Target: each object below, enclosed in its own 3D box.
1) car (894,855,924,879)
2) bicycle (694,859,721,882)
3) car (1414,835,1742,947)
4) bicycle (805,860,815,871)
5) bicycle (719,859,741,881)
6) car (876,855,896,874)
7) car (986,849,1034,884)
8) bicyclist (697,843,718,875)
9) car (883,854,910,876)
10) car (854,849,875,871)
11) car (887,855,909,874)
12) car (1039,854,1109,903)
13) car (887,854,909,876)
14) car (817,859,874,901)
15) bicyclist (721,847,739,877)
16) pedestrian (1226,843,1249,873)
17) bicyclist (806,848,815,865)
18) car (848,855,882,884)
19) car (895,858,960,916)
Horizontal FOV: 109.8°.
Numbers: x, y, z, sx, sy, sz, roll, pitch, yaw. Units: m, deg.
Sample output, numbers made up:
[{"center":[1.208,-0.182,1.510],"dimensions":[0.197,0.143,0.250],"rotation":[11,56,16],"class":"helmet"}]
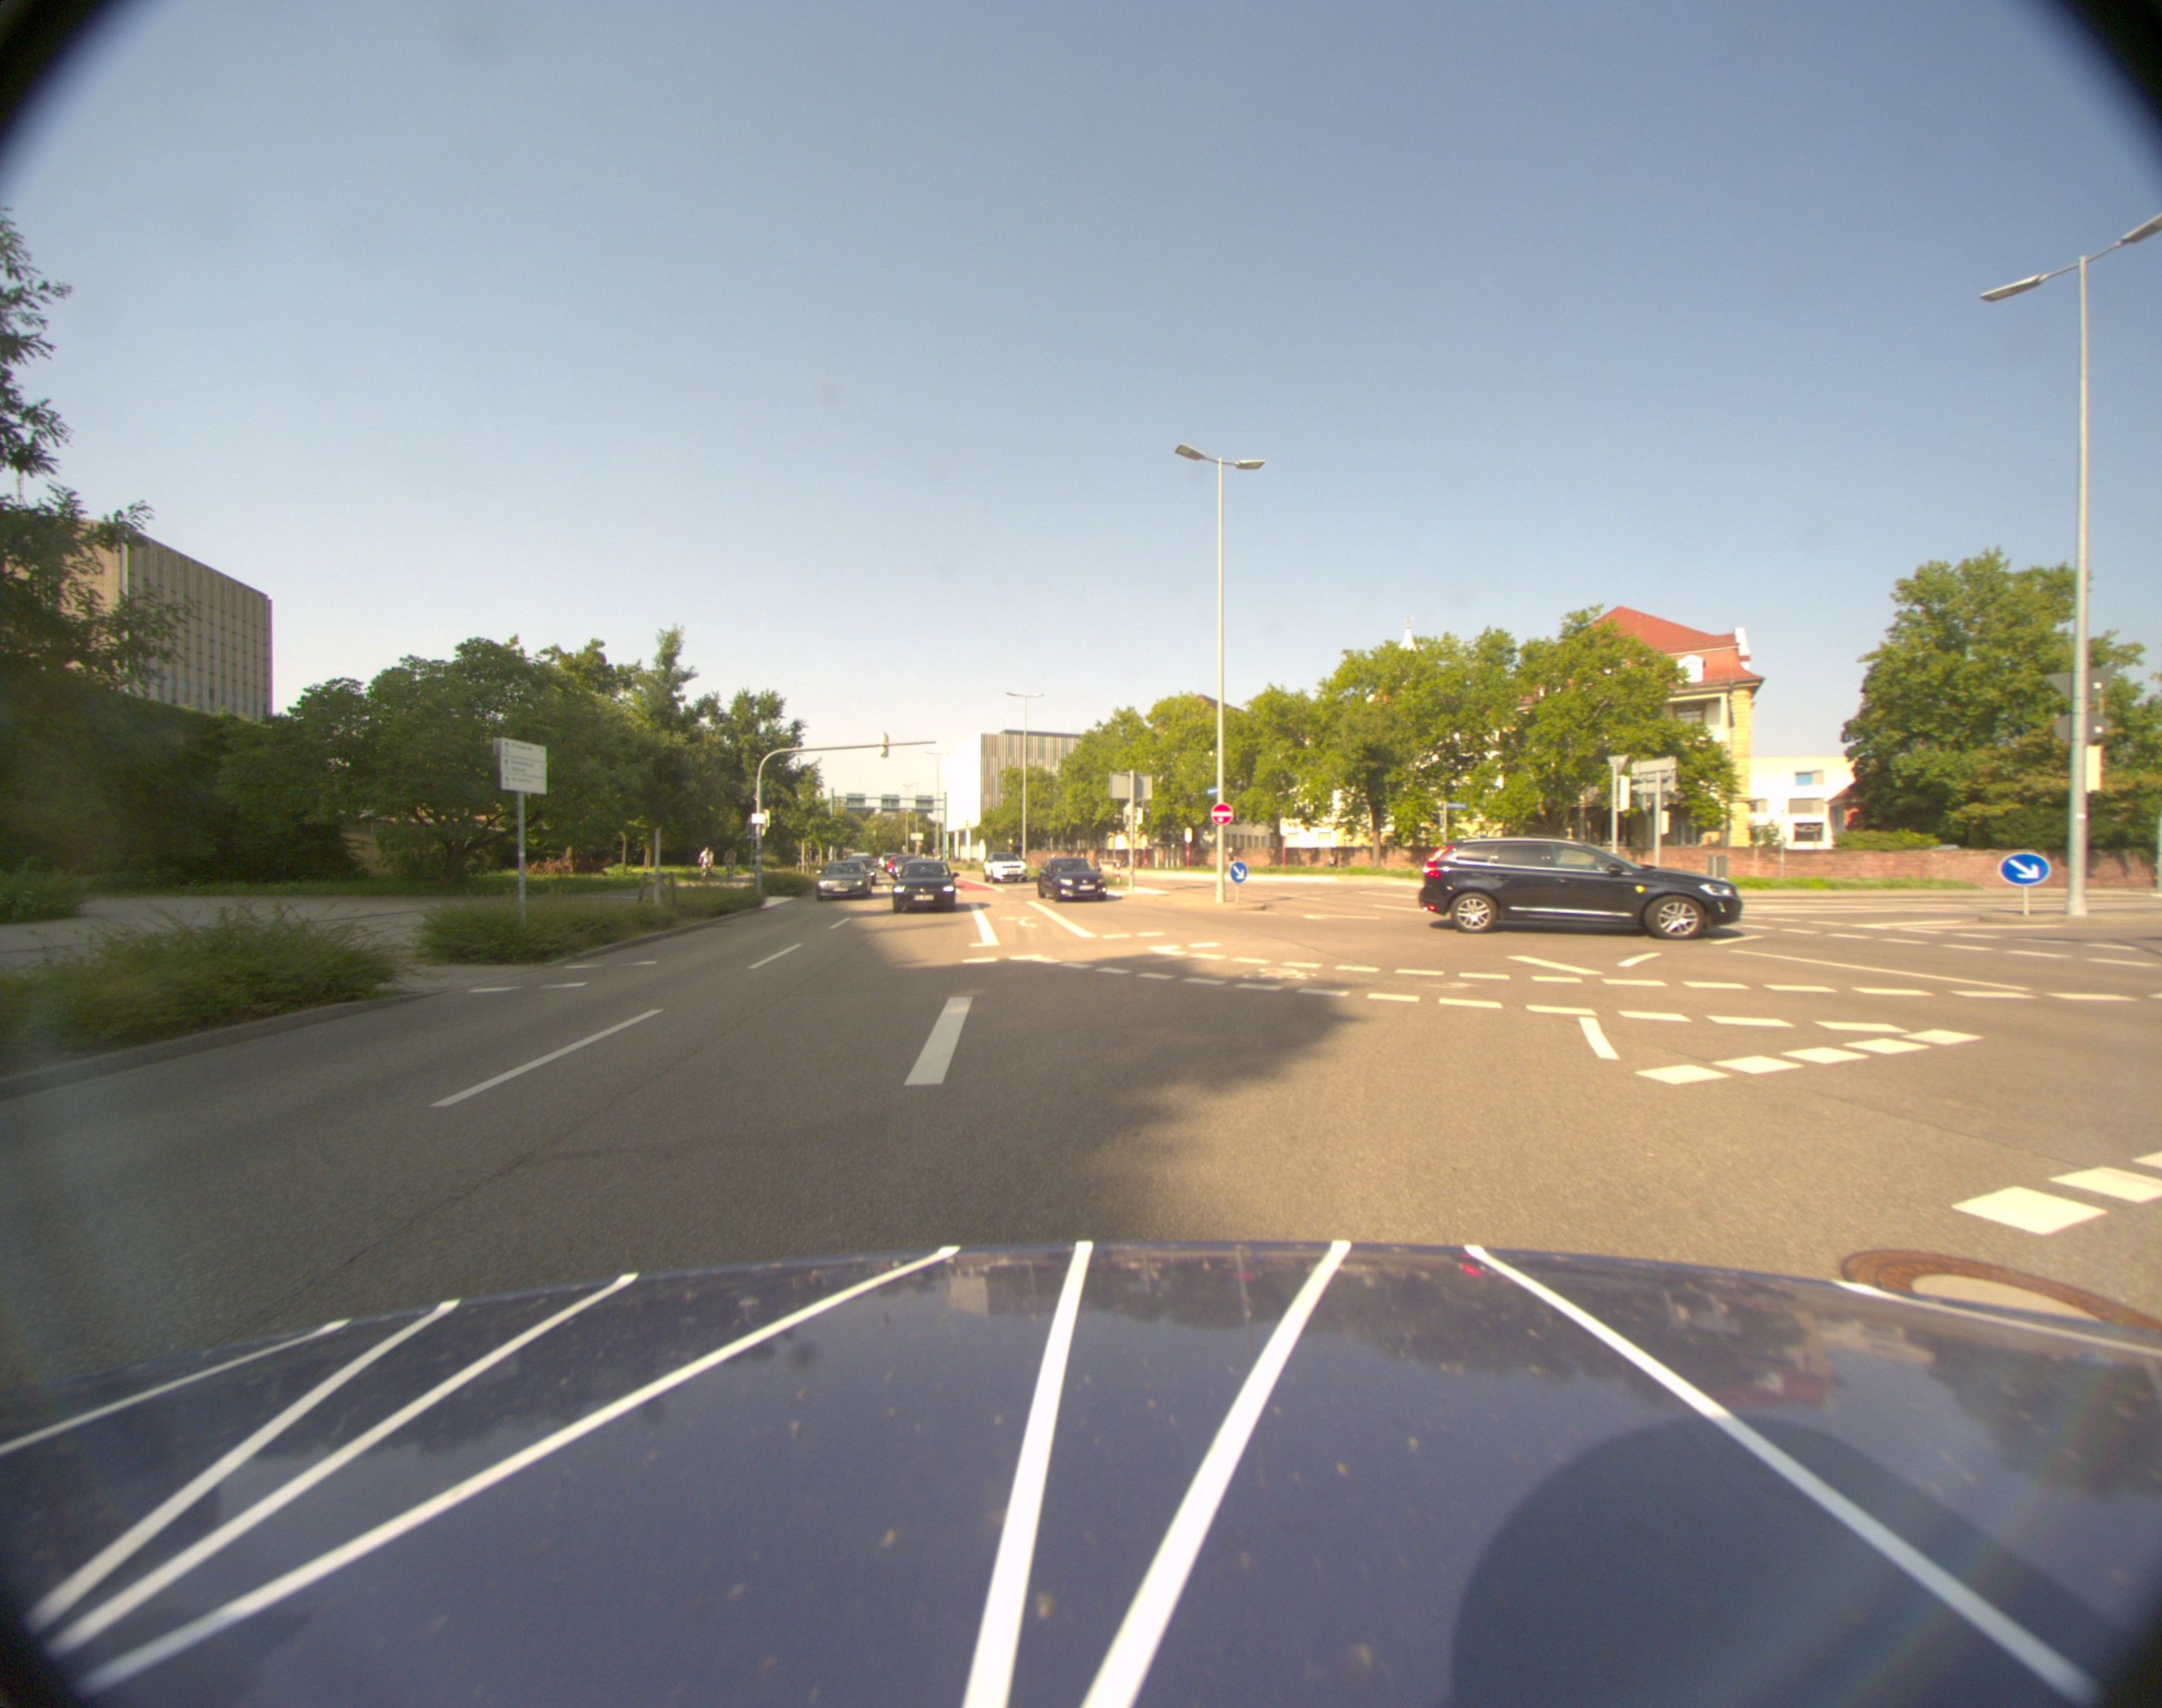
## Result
[{"center":[-11.276,0.808,49.677],"dimensions":[1.689,1.483,4.366],"rotation":[0,0,-15],"class":"car"},{"center":[-18.726,0.811,38.162],"dimensions":[0.774,1.111,2.300],"rotation":[0,0,-15],"class":"bicycle"},{"center":[8.268,0.579,13.041],"dimensions":[4.360,1.624,2.004],"rotation":[-2,1,33],"class":"car"},{"center":[-27.608,1.159,77.427],"dimensions":[0.774,1.111,2.301],"rotation":[-1,1,-13],"class":"bicycle"},{"center":[-19.064,0.860,41.306],"dimensions":[0.774,1.111,2.300],"rotation":[-1,1,-17],"class":"bicycle"},{"center":[-20.179,1.069,78.559],"dimensions":[1.689,1.930,4.066],"rotation":[0,0,-18],"class":"car"},{"center":[-3.890,0.627,41.023],"dimensions":[2.000,1.624,4.367],"rotation":[-4,1,-12],"class":"car"},{"center":[-18.687,0.241,38.031],"dimensions":[0.774,1.583,0.923],"rotation":[0,1,-15],"class":"bicyclist"},{"center":[-14.213,0.816,58.392],"dimensions":[1.785,1.597,4.414],"rotation":[0,1,-16],"class":"car"},{"center":[-19.664,0.553,68.870],"dimensions":[1.689,1.930,4.365],"rotation":[0,0,-18],"class":"car"},{"center":[-15.667,0.863,64.836],"dimensions":[1.689,1.483,4.366],"rotation":[0,0,-15],"class":"car"},{"center":[-0.304,0.756,25.430],"dimensions":[1.626,1.489,3.846],"rotation":[-1,0,-11],"class":"car"},{"center":[-17.125,1.016,70.891],"dimensions":[1.689,1.930,4.066],"rotation":[0,0,-18],"class":"car"},{"center":[-8.906,0.931,29.068],"dimensions":[1.688,1.434,4.367],"rotation":[-1,0,-12],"class":"car"},{"center":[-19.055,0.425,41.268],"dimensions":[0.774,1.584,0.922],"rotation":[-1,1,-18],"class":"bicyclist"},{"center":[10.543,0.274,51.310],"dimensions":[1.080,2.002,1.317],"rotation":[-1,1,-12],"class":"pedestrian"},{"center":[-27.613,0.254,77.484],"dimensions":[0.774,1.666,0.923],"rotation":[-1,1,-13],"class":"bicyclist"},{"center":[-11.835,0.813,41.728],"dimensions":[1.689,1.483,4.666],"rotation":[0,0,-15],"class":"car"},{"center":[-4.530,0.886,22.347],"dimensions":[1.689,1.483,4.367],"rotation":[0,0,-12],"class":"car"}]
